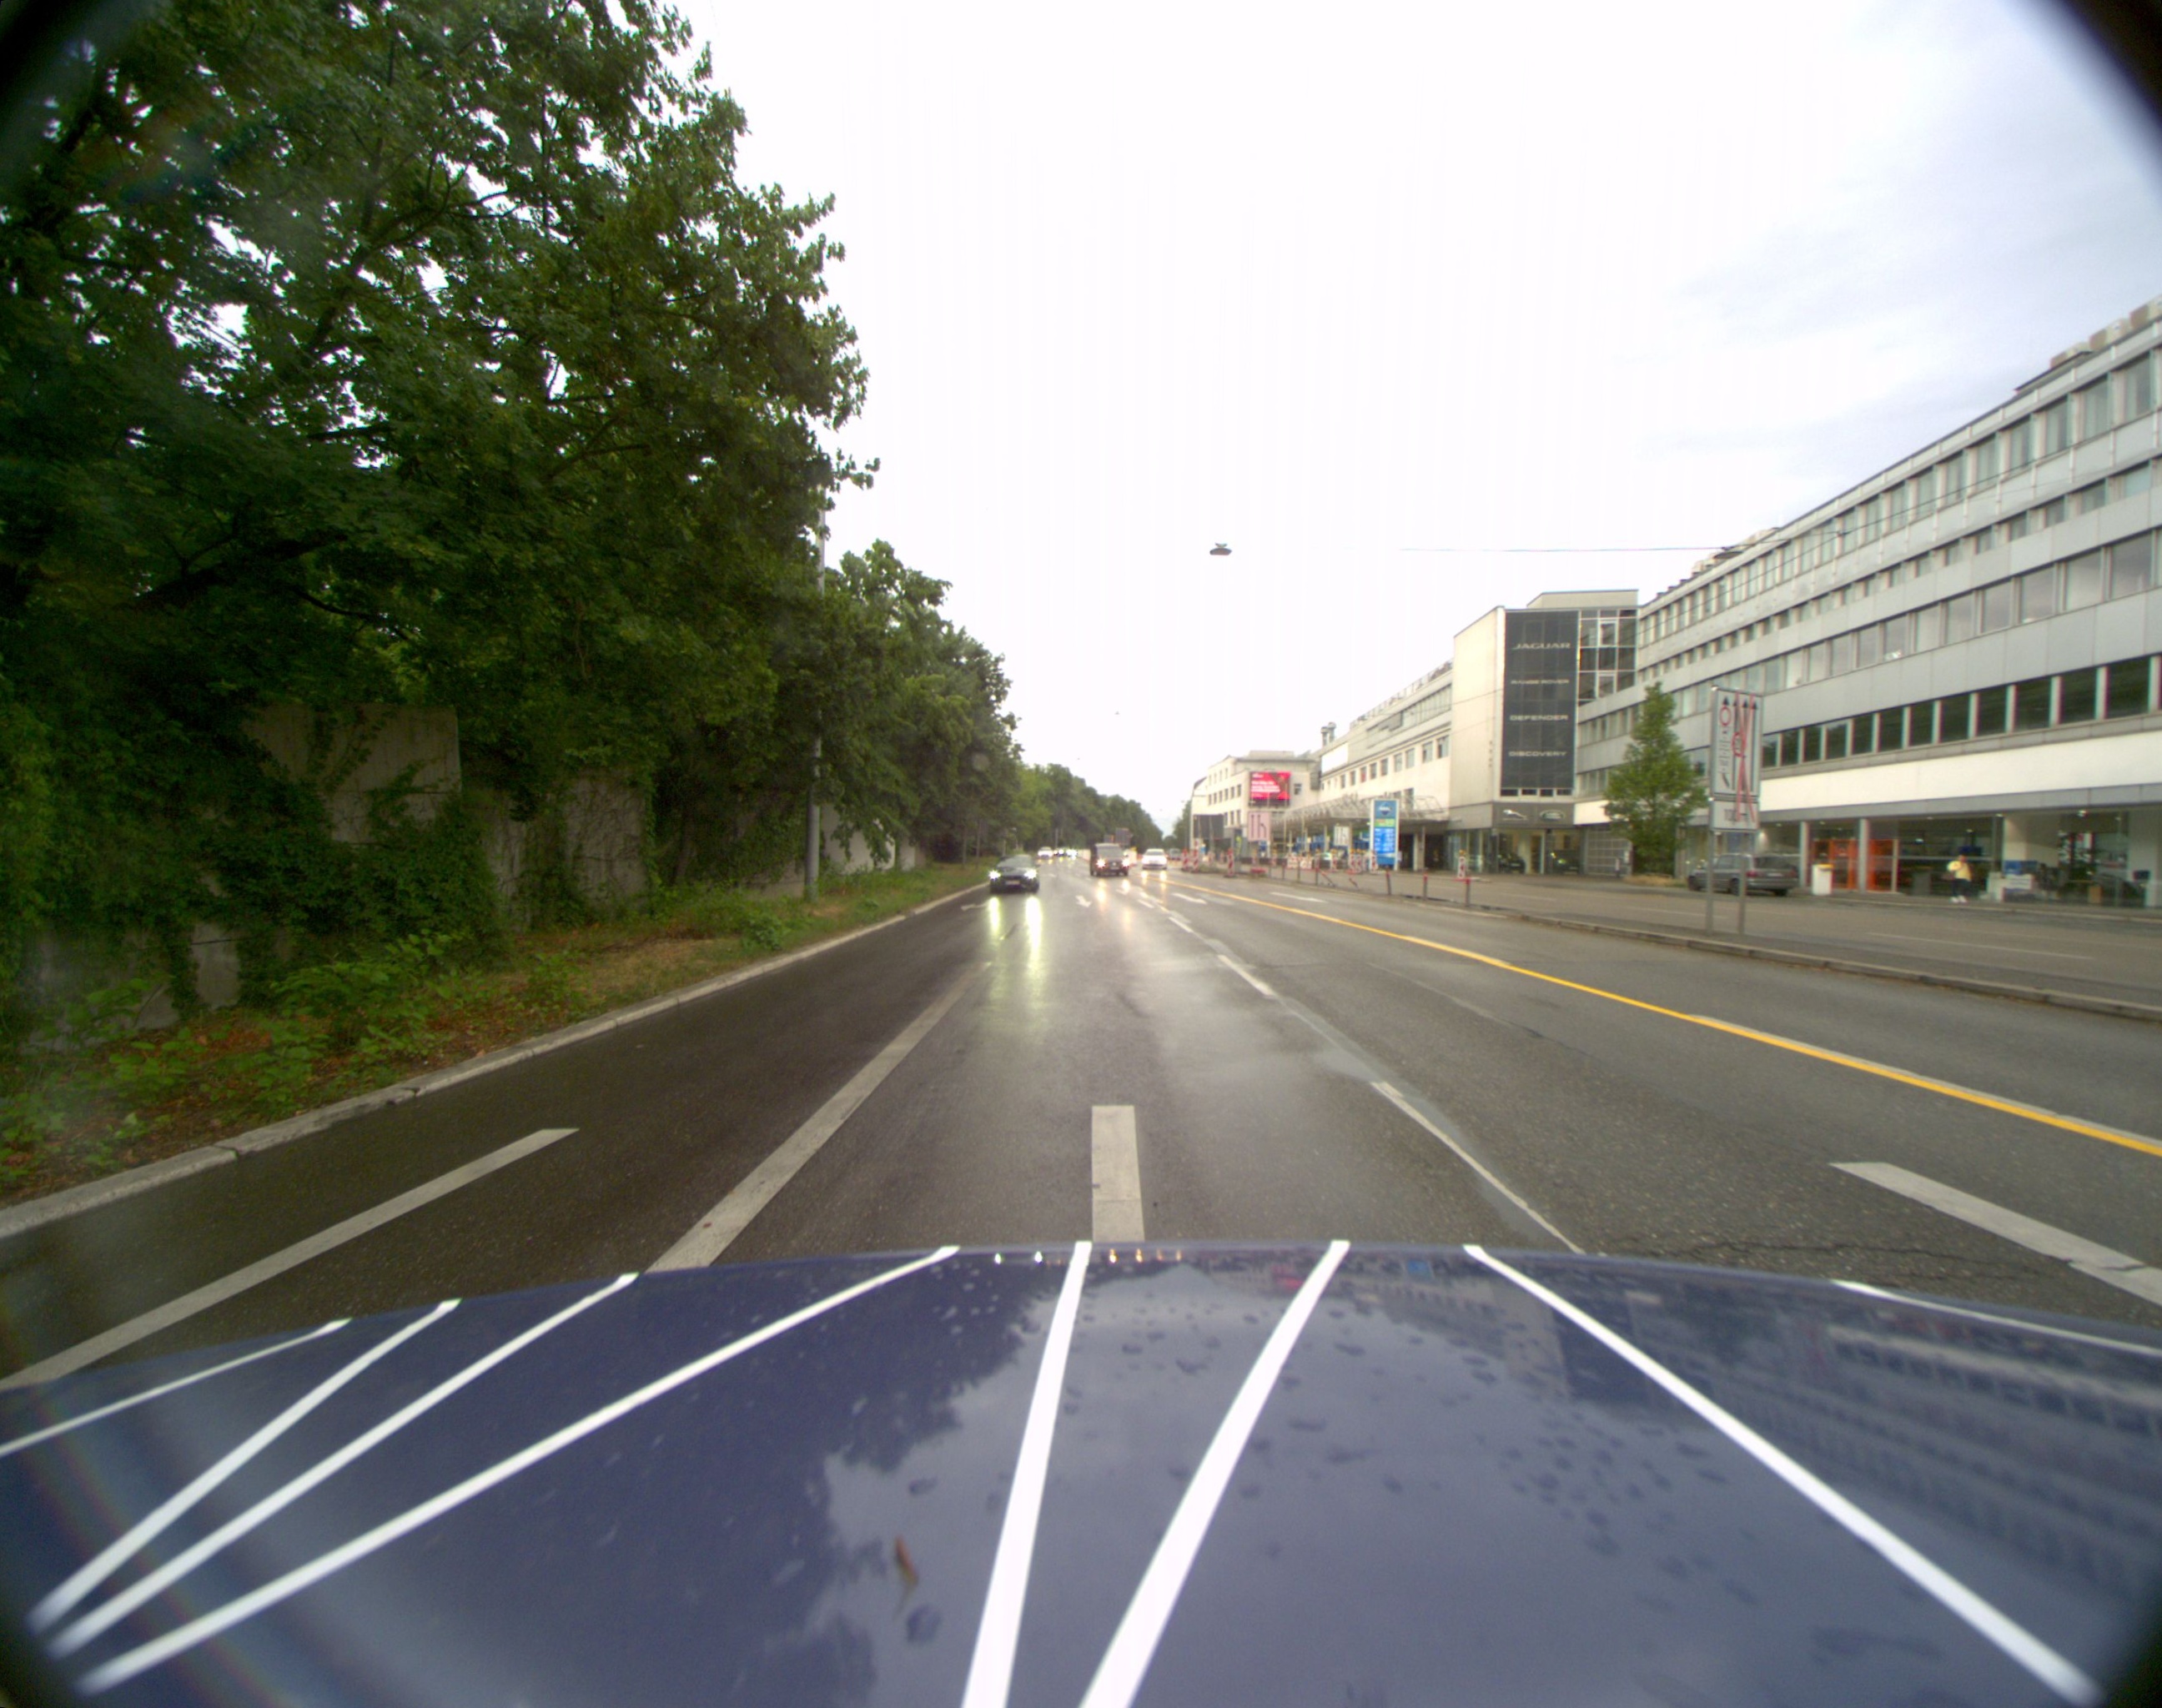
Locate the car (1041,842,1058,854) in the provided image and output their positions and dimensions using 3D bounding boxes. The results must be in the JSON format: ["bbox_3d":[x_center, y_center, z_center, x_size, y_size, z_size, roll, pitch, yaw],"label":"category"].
[{"bbox_3d":[-3.968,-0.724,97.438,1.814,1.444,4.333,-2,1,2],"label":"car"}]

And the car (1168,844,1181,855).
[{"bbox_3d":[14.527,-0.658,118.348,1.608,1.635,3.379,-2,1,2],"label":"car"}]

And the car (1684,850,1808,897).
[{"bbox_3d":[28.330,0.771,32.548,1.922,1.805,4.166,-2,1,6],"label":"car"}]

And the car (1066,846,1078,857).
[{"bbox_3d":[-1.372,-0.372,120.700,1.814,1.590,4.332,-2,1,-1],"label":"car"}]

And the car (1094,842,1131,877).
[{"bbox_3d":[1.764,0.242,42.909,1.905,1.804,4.430,-2,1,2],"label":"car"}]

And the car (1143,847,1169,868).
[{"bbox_3d":[5.478,0.234,55.352,1.770,1.407,4.334,-2,1,6],"label":"car"}]

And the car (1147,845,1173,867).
[{"bbox_3d":[6.307,0.155,60.802,1.771,1.608,3.949,-2,1,2],"label":"car"}]

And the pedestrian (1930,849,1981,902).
[{"bbox_3d":[29.975,0.720,26.067,0.761,1.765,0.864,-2,1,8],"label":"pedestrian"}]

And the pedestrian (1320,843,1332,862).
[{"bbox_3d":[23.828,-0.165,73.969,0.895,1.804,0.941,-2,1,5],"label":"pedestrian"}]

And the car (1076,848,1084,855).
[{"bbox_3d":[-0.240,-0.583,169.125,1.814,1.590,3.995,-2,1,-1],"label":"car"}]

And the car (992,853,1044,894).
[{"bbox_3d":[-2.443,0.739,30.318,1.753,1.395,4.413,-3,0,-2],"label":"car"}]

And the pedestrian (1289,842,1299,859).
[{"bbox_3d":[23.324,-0.350,83.187,0.894,1.804,0.942,-2,1,14],"label":"pedestrian"}]
